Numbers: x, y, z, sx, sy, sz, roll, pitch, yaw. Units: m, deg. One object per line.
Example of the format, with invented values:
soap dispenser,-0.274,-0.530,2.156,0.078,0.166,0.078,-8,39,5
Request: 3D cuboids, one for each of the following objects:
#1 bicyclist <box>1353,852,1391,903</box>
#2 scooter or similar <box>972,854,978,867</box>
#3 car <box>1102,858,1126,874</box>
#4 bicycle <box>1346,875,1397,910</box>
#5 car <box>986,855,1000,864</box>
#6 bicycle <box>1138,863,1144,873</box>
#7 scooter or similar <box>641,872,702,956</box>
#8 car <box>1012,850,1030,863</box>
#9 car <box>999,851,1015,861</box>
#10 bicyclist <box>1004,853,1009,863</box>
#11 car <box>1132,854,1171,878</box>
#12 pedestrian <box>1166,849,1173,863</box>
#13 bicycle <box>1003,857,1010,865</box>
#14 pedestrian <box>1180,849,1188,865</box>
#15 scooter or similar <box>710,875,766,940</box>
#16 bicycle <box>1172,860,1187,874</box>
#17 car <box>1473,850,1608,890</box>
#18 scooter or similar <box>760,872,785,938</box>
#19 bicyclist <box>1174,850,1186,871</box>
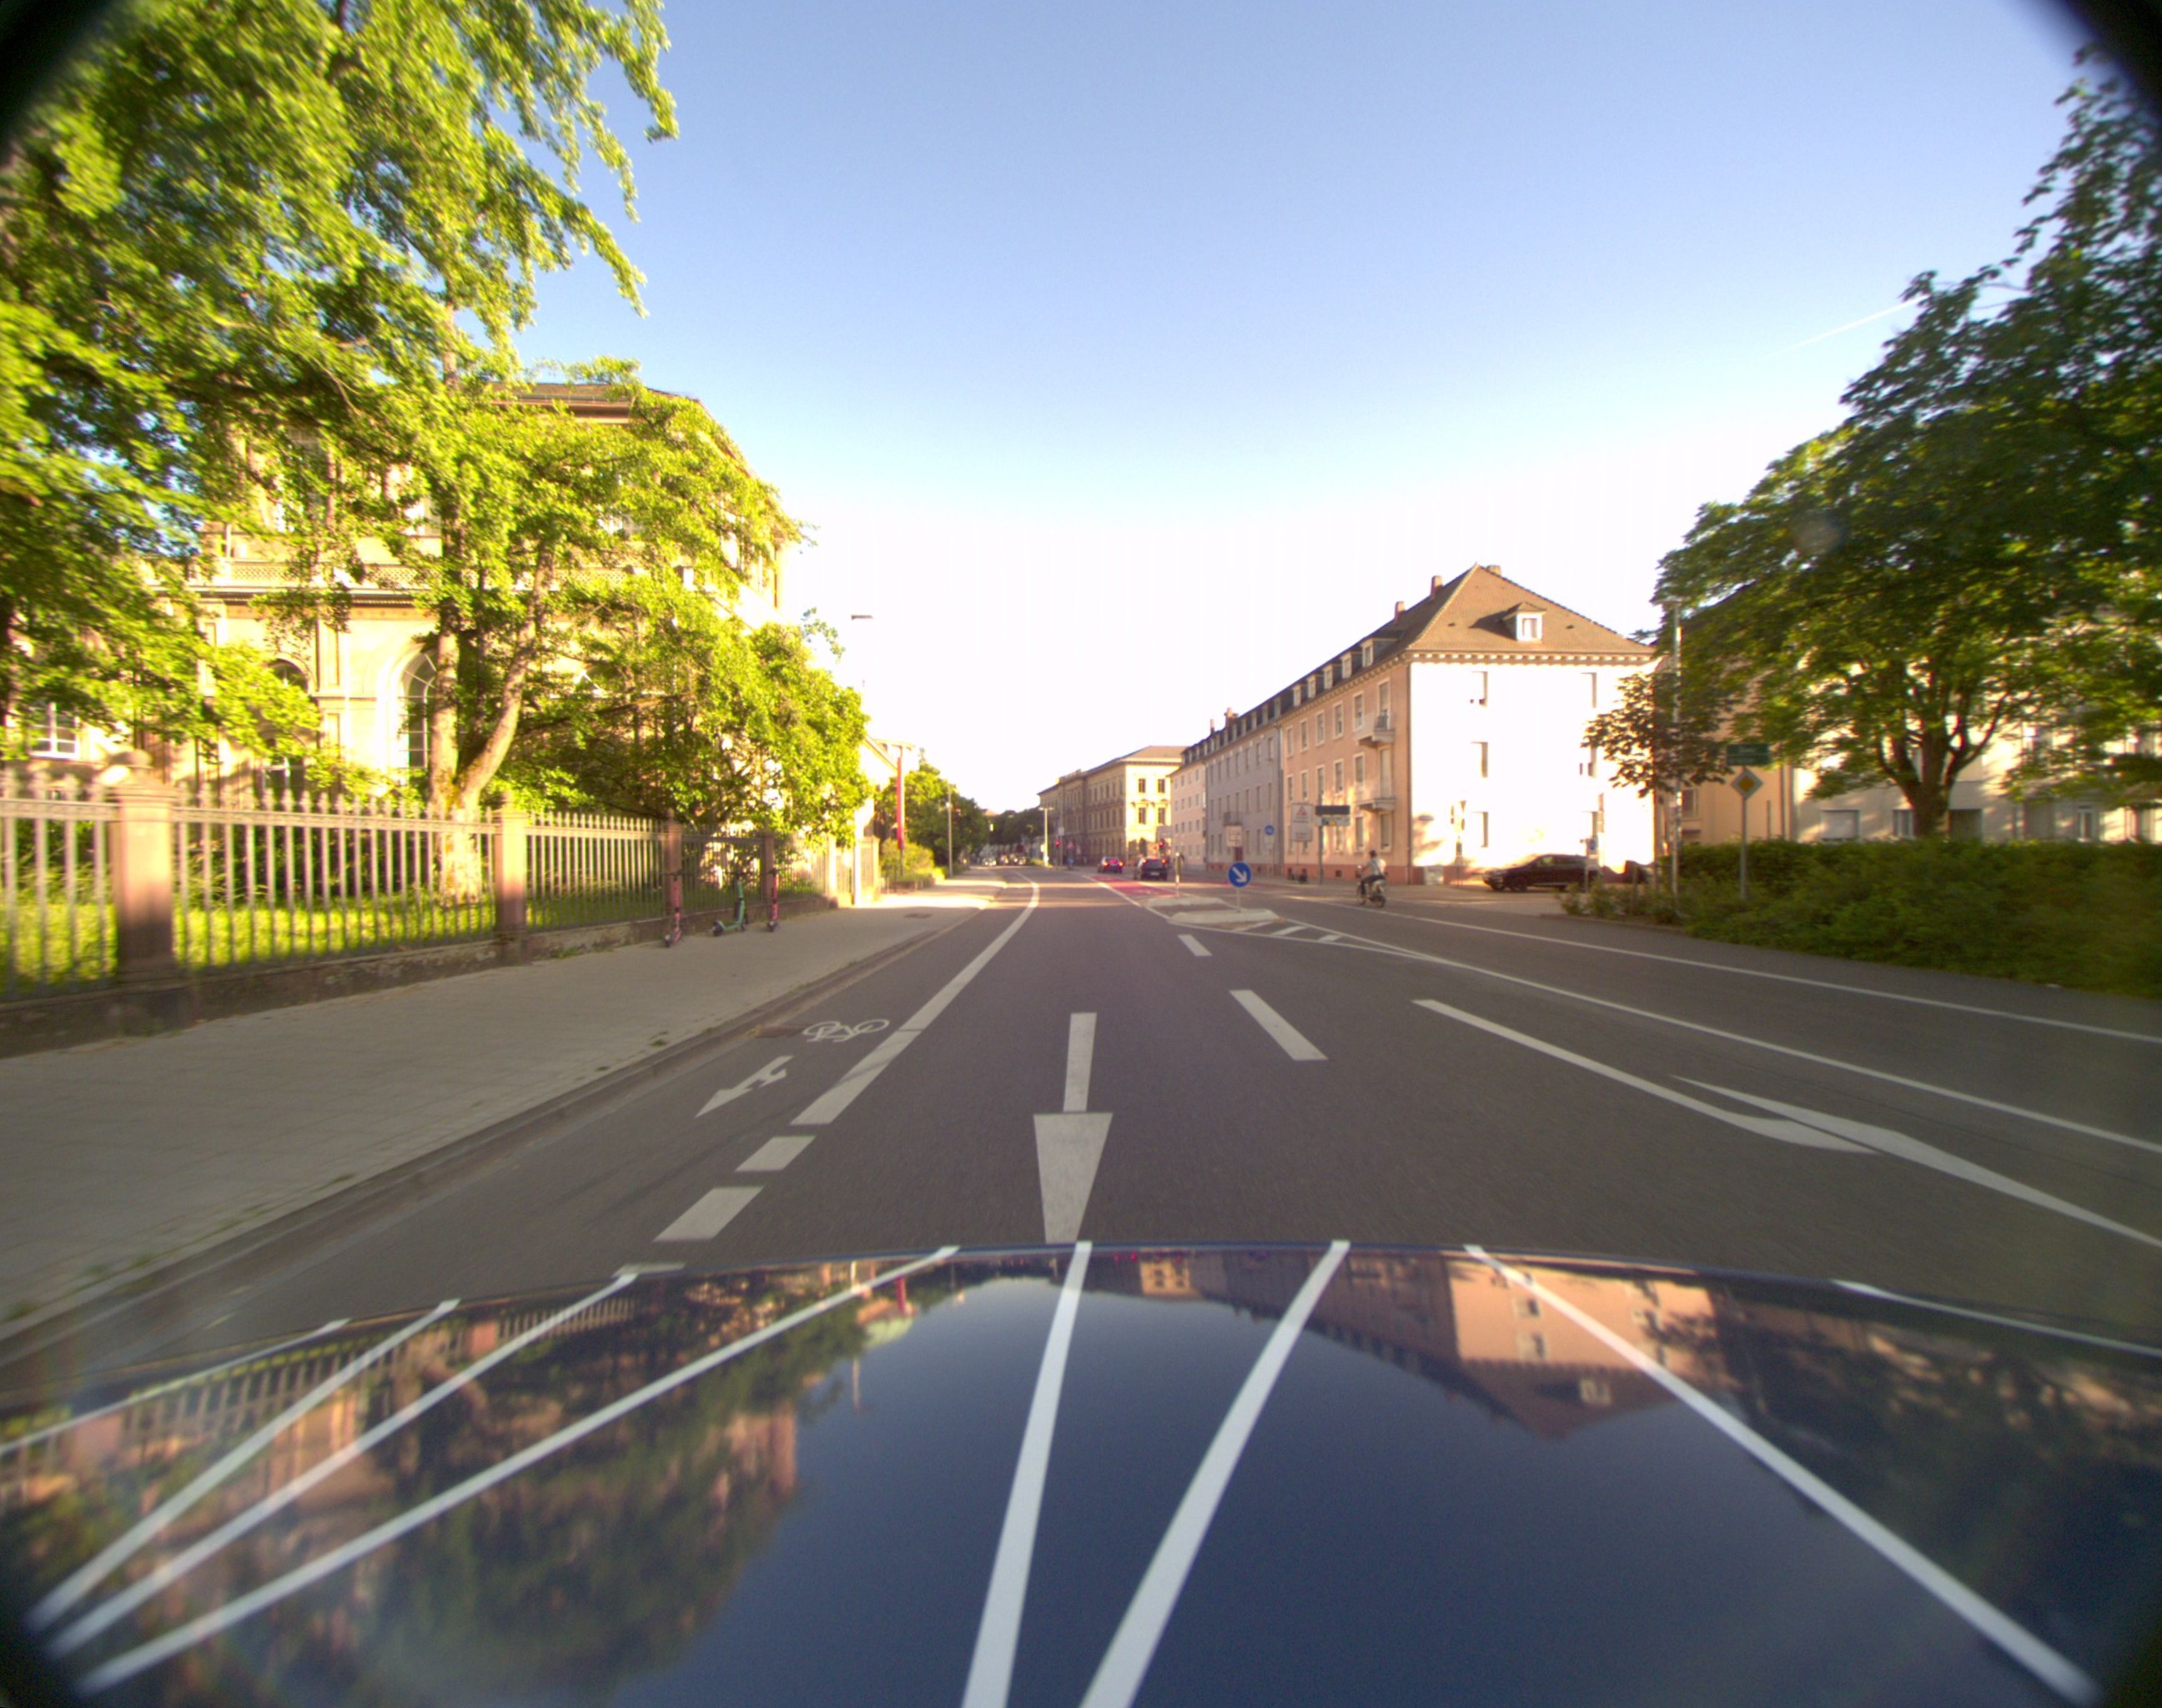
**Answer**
bicyclist,8.451,0.663,22.073,0.647,1.410,0.971,3,0,-1
scooter or similar,-11.338,0.703,81.287,0.557,1.301,1.831,0,0,-7
car,2.940,1.035,68.729,1.816,1.411,4.554,0,0,-2
bicycle,8.427,1.089,22.126,0.618,0.916,2.179,0,0,-1
car,-13.904,0.808,119.797,1.555,1.288,3.632,3,0,-16
bicycle,6.669,1.553,84.599,0.647,0.990,2.110,1,0,4
scooter or similar,-6.599,0.922,12.308,0.550,1.235,1.555,0,0,-16
car,-9.843,0.386,123.636,2.076,1.904,5.026,0,1,-15
car,-13.003,0.351,132.992,1.999,1.739,4.740,0,0,-17
bicyclist,-11.917,0.699,121.630,0.805,1.599,0.824,0,0,-12
car,4.340,0.722,47.051,1.763,1.450,3.998,0,0,-4
pedestrian,9.998,0.220,85.779,0.633,1.574,0.817,-3,1,-7
bicycle,-11.878,1.112,121.500,0.831,1.136,1.967,-1,0,-12
pedestrian,11.607,0.319,85.656,0.633,1.836,1.012,-3,1,-6
scooter or similar,-6.390,0.969,14.212,0.482,1.116,1.336,0,1,-2
bicycle,7.221,0.953,55.660,0.653,0.990,2.108,1,0,-4
car,19.924,0.690,33.108,4.585,1.668,2.061,0,0,2
scooter or similar,-6.114,0.980,15.066,0.298,1.233,1.159,0,0,-14
bicyclist,7.233,0.489,55.600,0.658,1.476,0.665,3,0,-4
